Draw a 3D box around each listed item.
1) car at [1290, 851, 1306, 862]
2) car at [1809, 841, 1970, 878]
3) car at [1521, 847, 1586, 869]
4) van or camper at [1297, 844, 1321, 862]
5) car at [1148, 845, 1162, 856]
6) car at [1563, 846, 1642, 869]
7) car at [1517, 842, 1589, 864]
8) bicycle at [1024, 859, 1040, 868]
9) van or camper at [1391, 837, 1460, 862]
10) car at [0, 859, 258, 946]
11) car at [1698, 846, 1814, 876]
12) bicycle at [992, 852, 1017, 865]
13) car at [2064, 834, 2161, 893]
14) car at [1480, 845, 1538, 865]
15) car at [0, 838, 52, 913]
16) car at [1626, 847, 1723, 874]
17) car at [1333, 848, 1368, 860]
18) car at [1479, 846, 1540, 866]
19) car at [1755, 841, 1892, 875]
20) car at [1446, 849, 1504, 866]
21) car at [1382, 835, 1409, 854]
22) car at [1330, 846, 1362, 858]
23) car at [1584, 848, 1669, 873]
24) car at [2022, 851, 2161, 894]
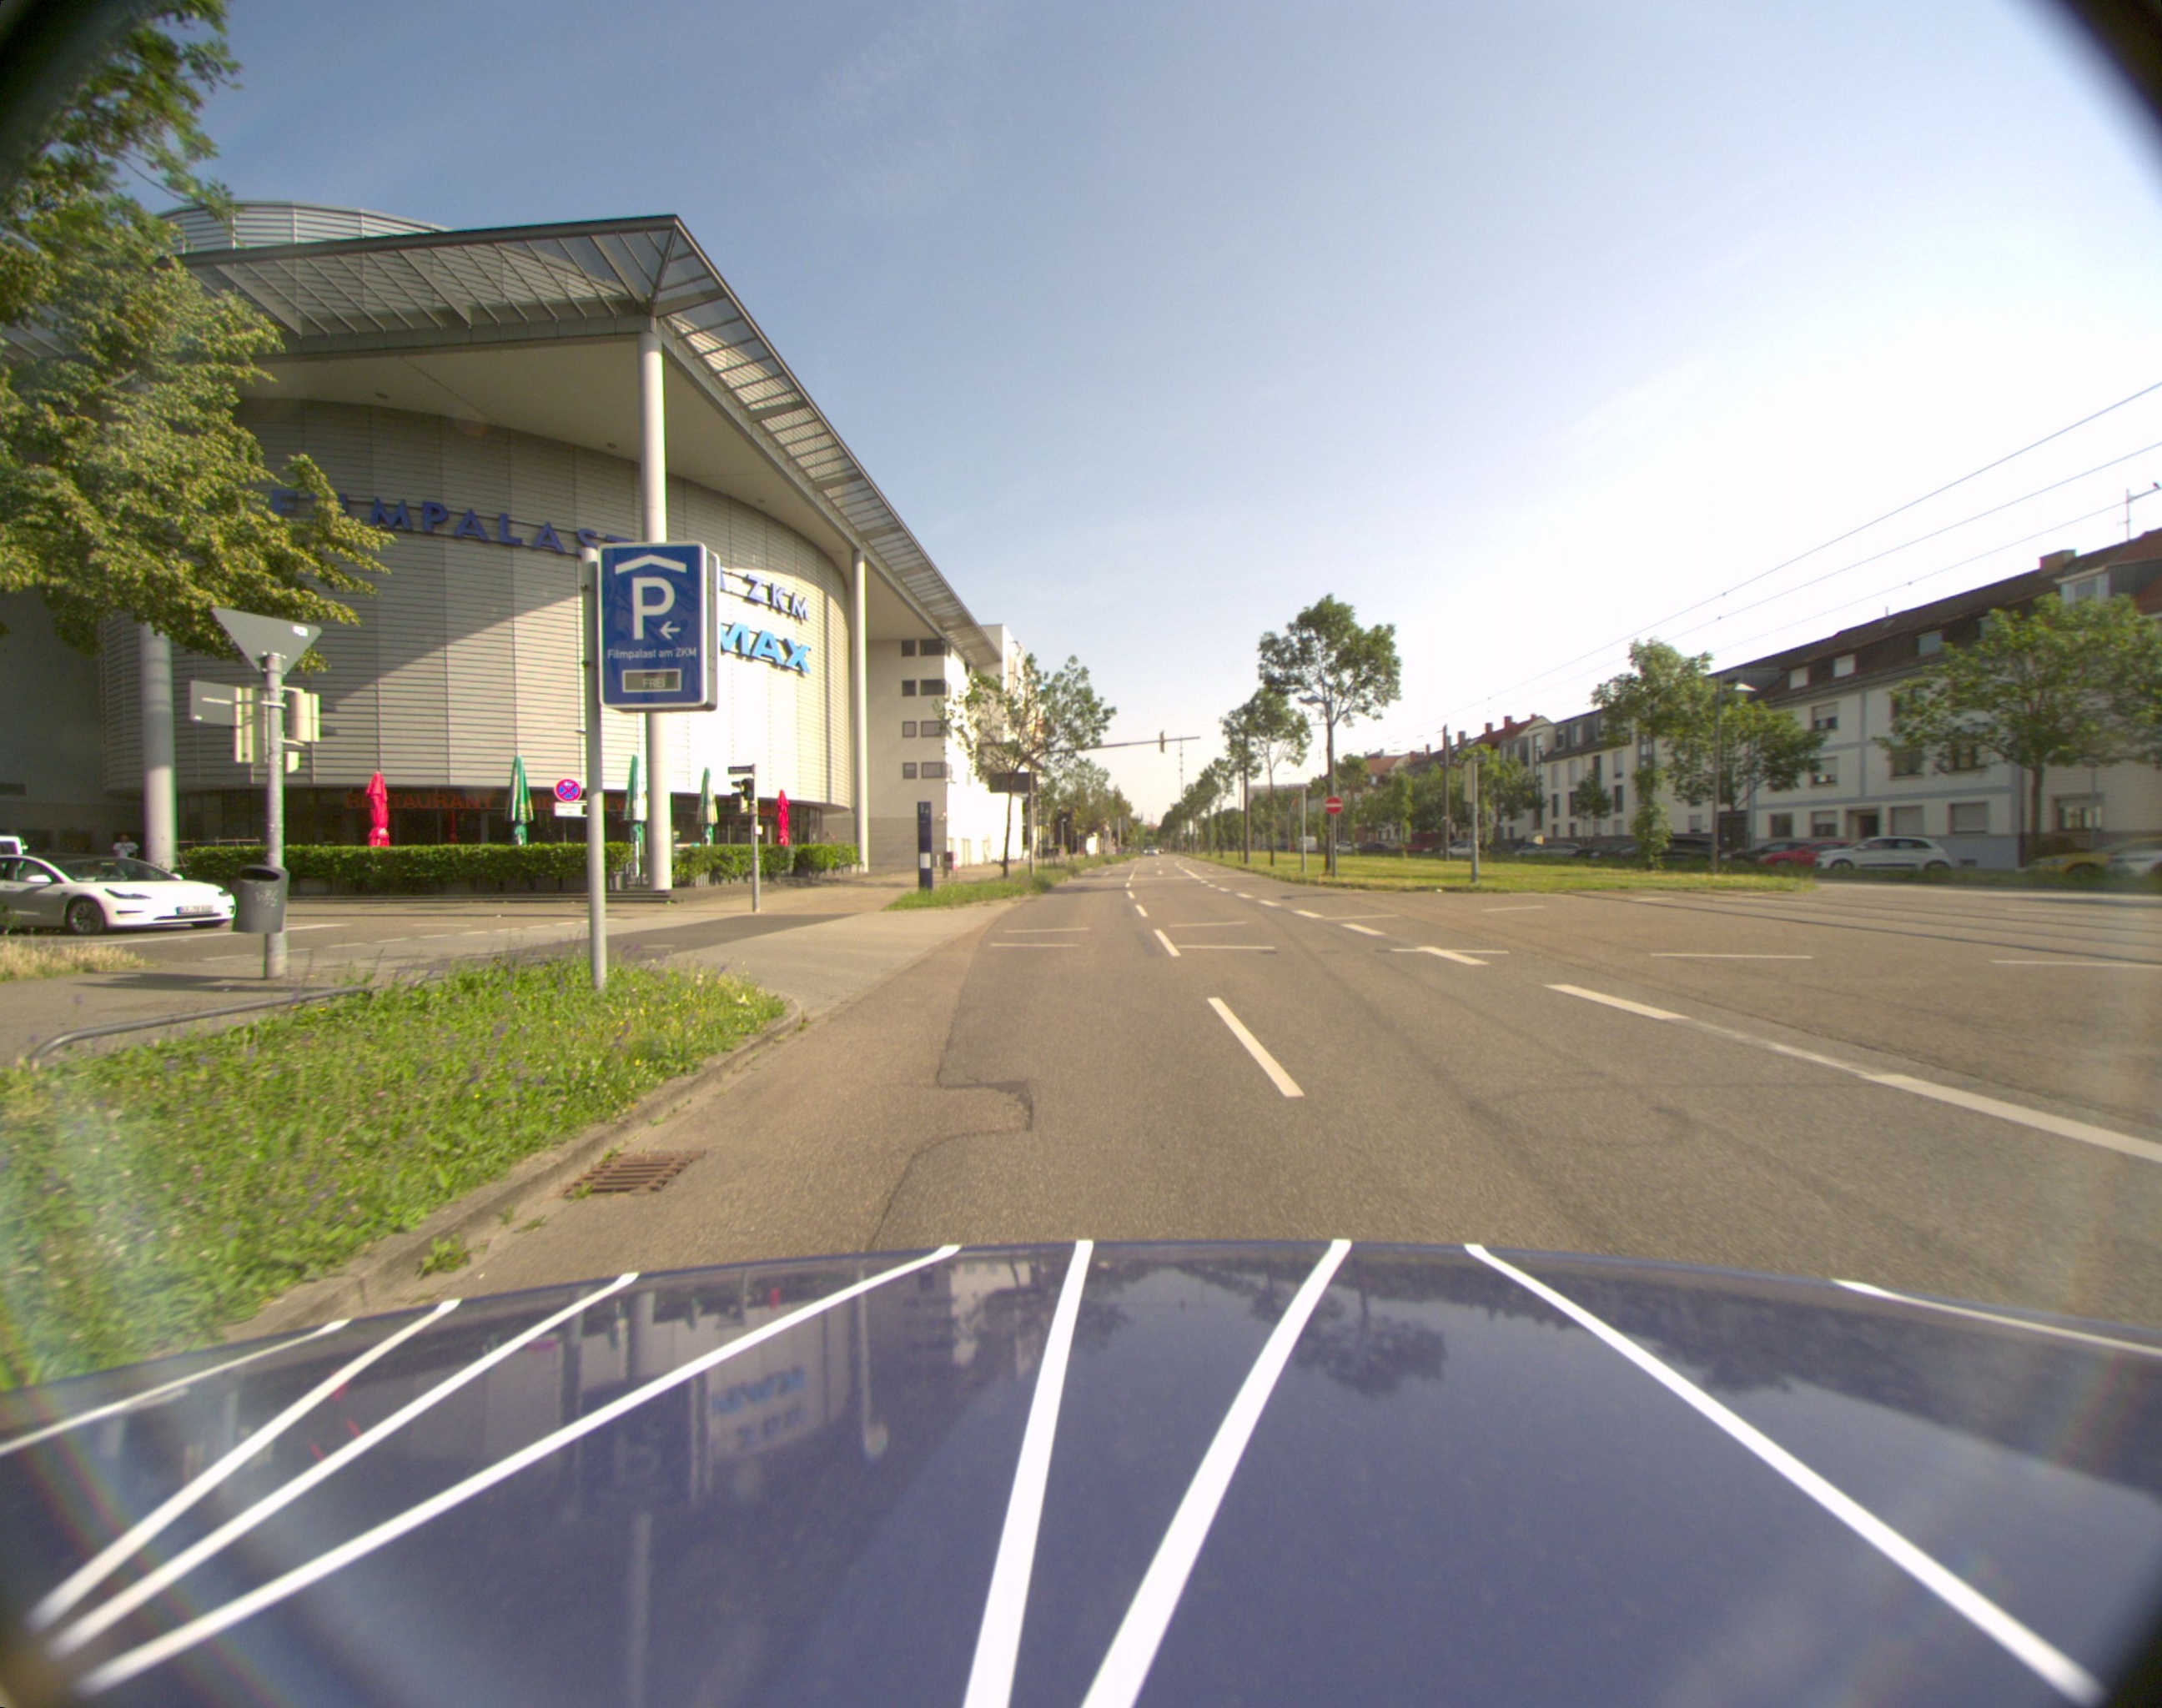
[{"bbox_3d":[34.218,0.347,119.902,1.819,1.727,4.163,-1,0,6],"label":"car"},{"bbox_3d":[31.500,0.236,29.785,3.989,1.262,1.890,-2,1,35],"label":"car"},{"bbox_3d":[32.832,0.270,52.888,3.771,1.368,1.667,-2,1,31],"label":"car"},{"bbox_3d":[33.748,-0.192,112.641,2.146,2.460,6.060,1,1,5],"label":"van or camper"},{"bbox_3d":[11.067,-0.536,114.388,1.998,1.652,4.001,-1,0,5],"label":"car"},{"bbox_3d":[33.135,0.247,48.424,3.989,1.281,2.003,-2,1,31],"label":"car"},{"bbox_3d":[34.191,-0.042,55.108,4.329,1.368,2.003,-2,1,31],"label":"car"},{"bbox_3d":[-5.319,1.014,81.908,1.660,0.910,0.483,-1,1,6],"label":"bicycle"},{"bbox_3d":[36.647,-0.424,80.969,6.144,2.532,2.419,-1,1,43],"label":"van or camper"},{"bbox_3d":[-18.202,0.835,13.949,4.329,1.456,1.902,0,0,5],"label":"car"},{"bbox_3d":[31.807,0.354,35.983,3.989,1.228,1.702,-2,1,38],"label":"car"},{"bbox_3d":[-6.760,0.435,67.197,2.012,1.096,0.676,-1,1,9],"label":"bicycle"},{"bbox_3d":[30.138,0.213,20.284,4.452,1.505,2.004,-2,1,42],"label":"car"},{"bbox_3d":[34.594,0.081,61.408,3.989,1.368,1.839,-2,1,32],"label":"car"},{"bbox_3d":[-31.463,0.611,20.548,4.890,2.002,2.070,-1,1,6],"label":"car"},{"bbox_3d":[32.911,0.370,42.265,4.049,1.281,2.003,-2,1,32],"label":"car"},{"bbox_3d":[39.006,0.035,110.051,4.354,1.466,1.861,-2,1,43],"label":"car"},{"bbox_3d":[33.390,0.169,59.190,3.989,1.368,1.930,-2,1,32],"label":"car"},{"bbox_3d":[31.709,0.186,32.622,3.989,1.251,1.879,-2,1,38],"label":"car"},{"bbox_3d":[35.221,0.331,67.960,4.387,1.312,1.737,-2,1,38],"label":"car"},{"bbox_3d":[44.562,-1.361,107.737,1.997,2.449,5.580,-3,1,6],"label":"car"},{"bbox_3d":[39.279,-0.312,112.689,4.088,1.520,1.816,-2,1,43],"label":"car"},{"bbox_3d":[32.545,0.395,45.470,3.989,1.281,2.003,-2,1,31],"label":"car"},{"bbox_3d":[31.241,0.536,22.545,2.004,1.171,3.989,-3,1,-44],"label":"car"}]
